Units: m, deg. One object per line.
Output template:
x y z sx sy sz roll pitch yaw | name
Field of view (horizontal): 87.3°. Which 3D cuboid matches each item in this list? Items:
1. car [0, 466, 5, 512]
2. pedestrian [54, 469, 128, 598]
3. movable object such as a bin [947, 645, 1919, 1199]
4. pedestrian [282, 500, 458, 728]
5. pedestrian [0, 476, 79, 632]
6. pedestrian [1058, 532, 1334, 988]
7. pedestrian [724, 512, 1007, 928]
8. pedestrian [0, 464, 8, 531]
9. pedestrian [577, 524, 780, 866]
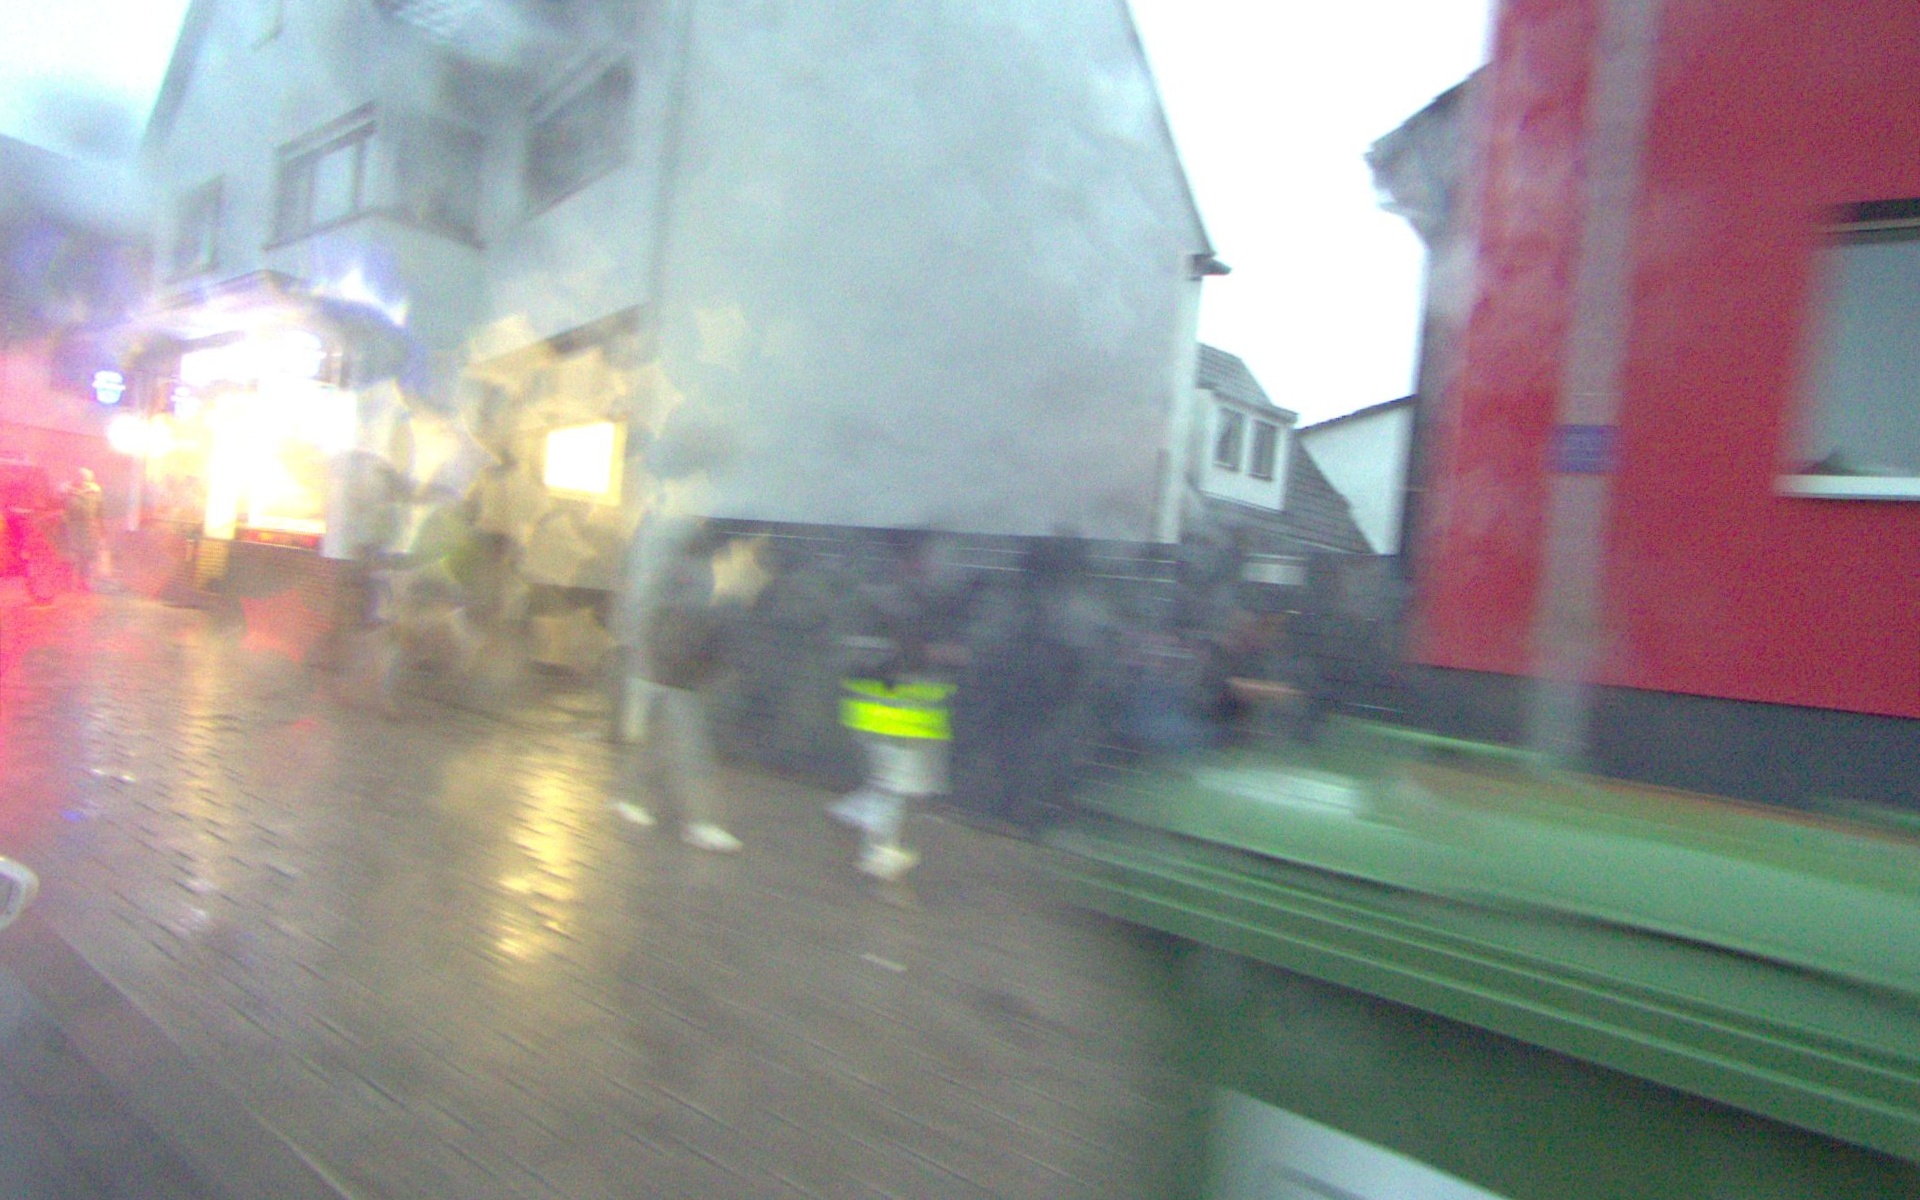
-12.057 -0.767 10.653 4.314 1.713 1.737 6 0 33 | car
-12.520 -0.944 14.496 0.495 1.746 0.617 4 -3 45 | pedestrian
0.863 0.864 1.262 1.395 1.440 1.128 8 3 35 | movable object such as a bin
-4.700 0.109 8.032 0.889 1.646 0.620 8 1 20 | pedestrian
-10.644 -0.524 11.550 0.642 1.722 0.573 6 2 34 | pedestrian
1.052 0.653 4.536 0.853 1.822 0.528 7 0 43 | pedestrian
-0.477 0.504 4.833 0.709 1.737 1.021 5 2 -43 | pedestrian
-17.291 -1.685 17.542 0.720 1.534 0.620 8 1 20 | pedestrian
-1.542 0.459 5.437 0.478 1.651 1.005 5 2 -45 | pedestrian
